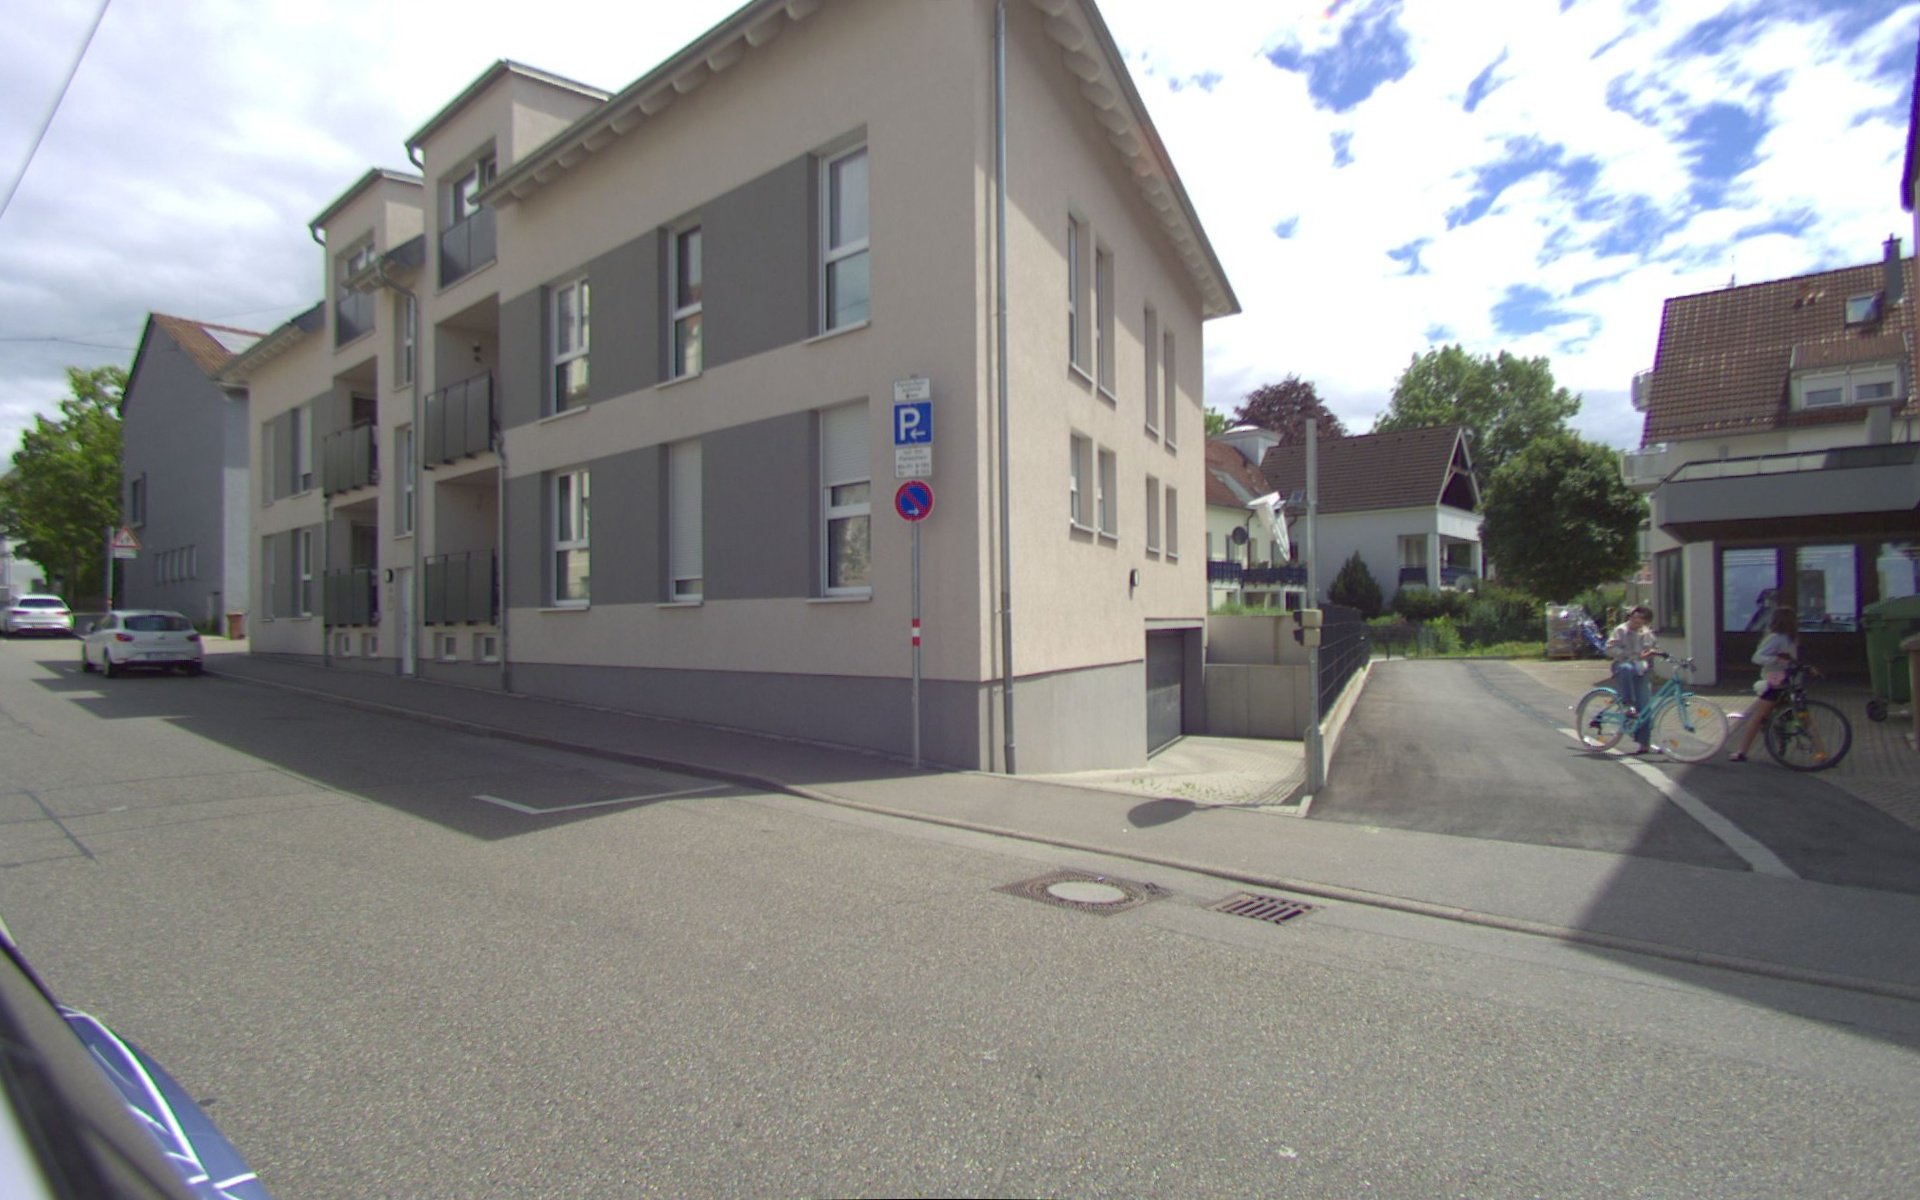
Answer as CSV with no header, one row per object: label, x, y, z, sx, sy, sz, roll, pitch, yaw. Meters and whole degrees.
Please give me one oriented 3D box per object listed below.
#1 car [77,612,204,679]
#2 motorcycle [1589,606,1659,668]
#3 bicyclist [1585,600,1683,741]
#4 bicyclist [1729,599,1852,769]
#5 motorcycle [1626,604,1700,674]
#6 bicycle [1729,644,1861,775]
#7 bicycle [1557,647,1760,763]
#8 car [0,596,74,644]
car,-18.225,0.954,22.471,3.473,1.340,1.644,0,-1,42
motorcycle,17.215,0.924,26.196,0.860,1.530,3.567,-2,-2,44
bicyclist,6.200,0.627,9.313,0.631,1.251,0.428,0,0,-16
bicyclist,6.975,0.697,8.525,0.583,1.376,0.423,-3,-3,12
motorcycle,16.713,0.885,23.998,0.860,1.530,3.748,-2,-2,44
bicycle,7.107,0.884,8.681,0.553,0.961,1.674,-3,-2,30
bicycle,6.286,0.905,9.214,0.451,0.924,1.593,-1,-2,-14
car,-31.627,0.651,34.437,4.066,1.499,1.714,2,-1,42
